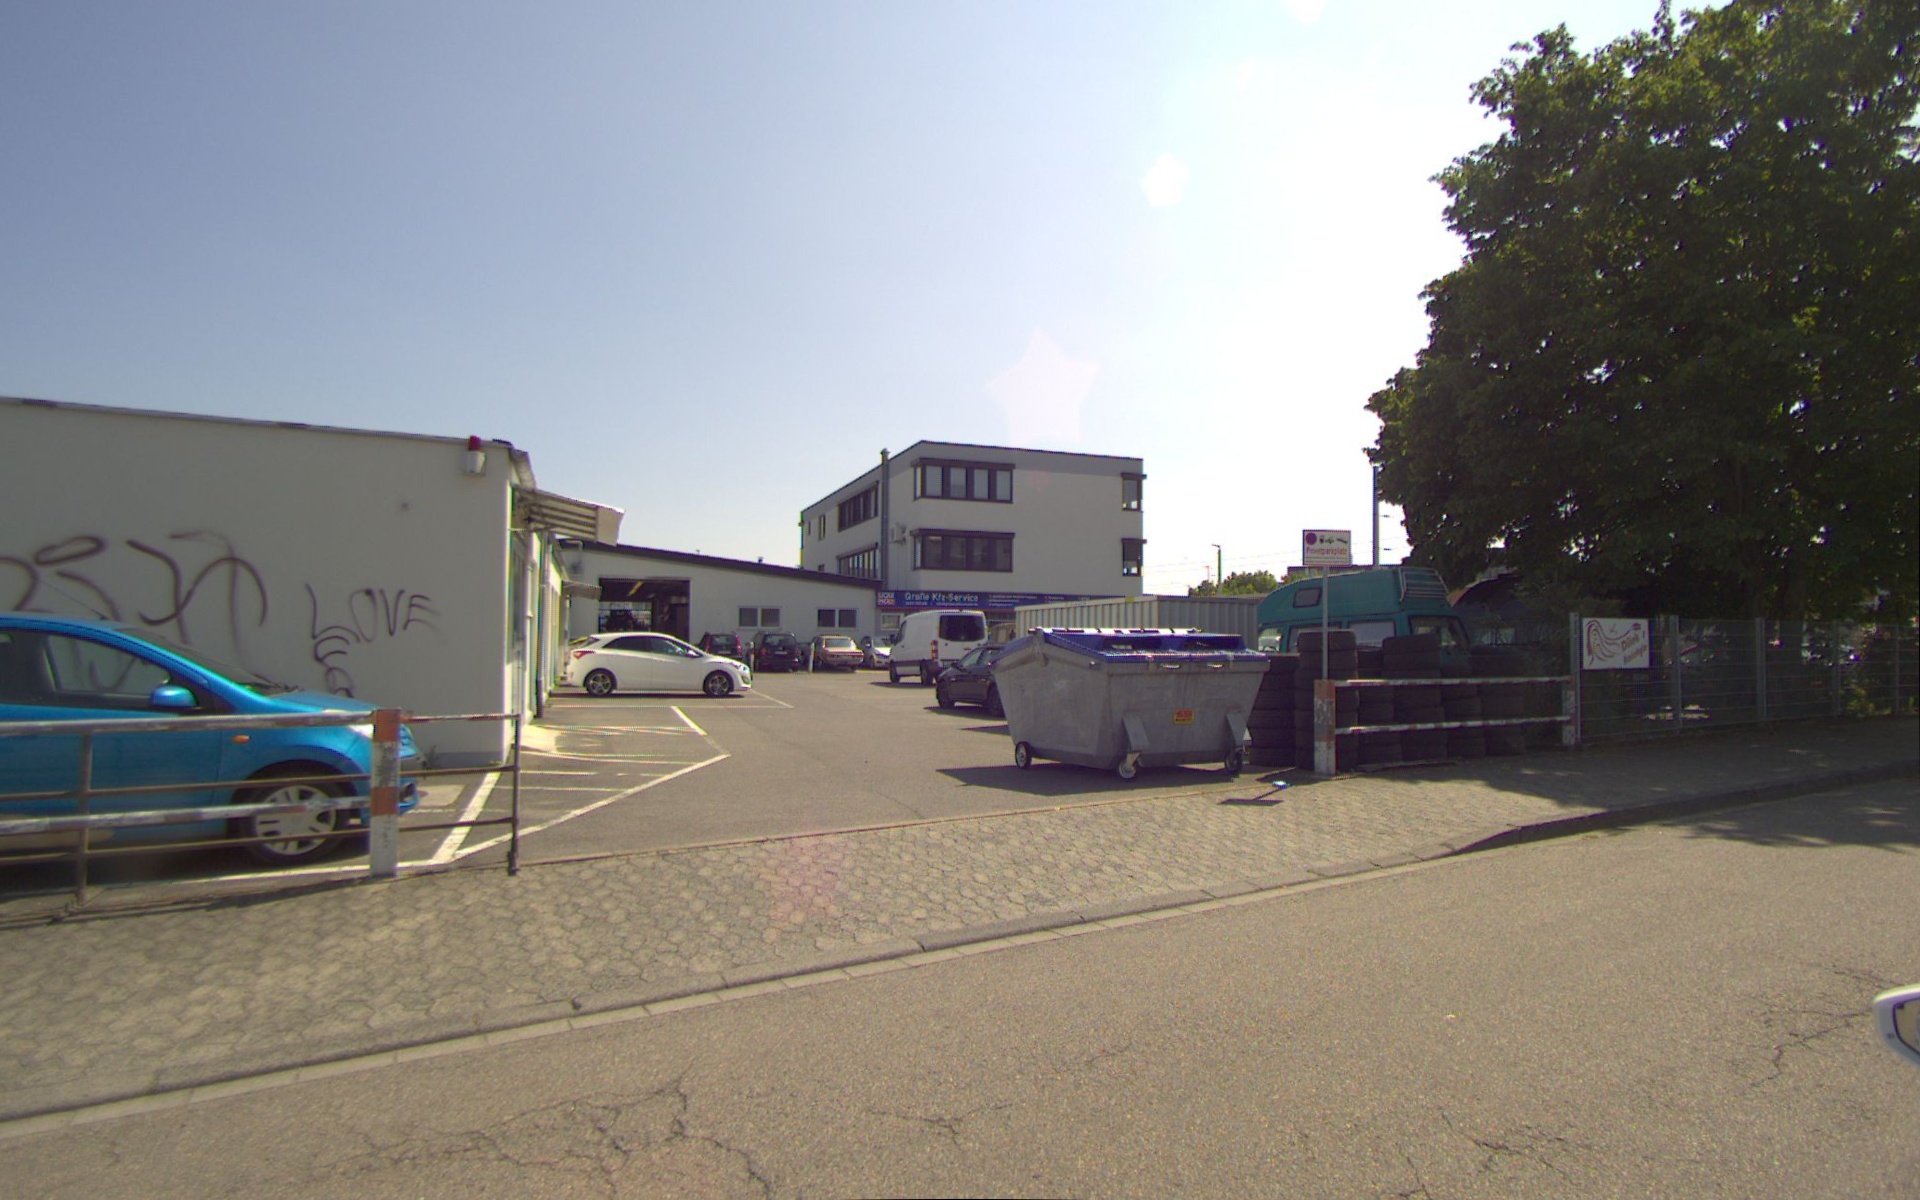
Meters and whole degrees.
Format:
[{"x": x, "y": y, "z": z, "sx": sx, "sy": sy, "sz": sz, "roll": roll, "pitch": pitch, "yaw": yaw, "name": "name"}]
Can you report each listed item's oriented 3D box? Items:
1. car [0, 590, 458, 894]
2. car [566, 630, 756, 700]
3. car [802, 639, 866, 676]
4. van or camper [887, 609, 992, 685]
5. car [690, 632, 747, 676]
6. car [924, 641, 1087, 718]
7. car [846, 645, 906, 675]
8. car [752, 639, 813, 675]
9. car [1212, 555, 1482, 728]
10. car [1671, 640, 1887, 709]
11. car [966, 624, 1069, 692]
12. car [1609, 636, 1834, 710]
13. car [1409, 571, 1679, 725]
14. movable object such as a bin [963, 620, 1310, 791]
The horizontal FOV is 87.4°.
[{"x": -5.145, "y": 0.771, "z": 6.048, "sx": 3.635, "sy": 1.550, "sz": 1.805, "roll": 2, "pitch": -3, "yaw": -32, "name": "car"}, {"x": -7.056, "y": 1.530, "z": 23.835, "sx": 4.160, "sy": 1.550, "sz": 1.813, "roll": 1, "pitch": -3, "yaw": -19, "name": "car"}, {"x": -5.524, "y": 2.465, "z": 43.561, "sx": 1.872, "sy": 1.540, "sz": 3.982, "roll": 1, "pitch": -3, "yaw": -21, "name": "car"}, {"x": -0.787, "y": 1.581, "z": 33.587, "sx": 2.090, "sy": 2.354, "sz": 4.770, "roll": 1, "pitch": -3, "yaw": -21, "name": "van or camper"}, {"x": -10.159, "y": 2.226, "z": 42.088, "sx": 1.969, "sy": 1.750, "sz": 3.984, "roll": 1, "pitch": -2, "yaw": -19, "name": "car"}, {"x": 0.850, "y": 1.639, "z": 21.499, "sx": 1.730, "sy": 1.474, "sz": 4.129, "roll": 1, "pitch": -3, "yaw": -26, "name": "car"}, {"x": -3.752, "y": 2.611, "z": 44.181, "sx": 1.661, "sy": 1.235, "sz": 3.948, "roll": 1, "pitch": -3, "yaw": -20, "name": "car"}, {"x": -7.579, "y": 2.399, "z": 42.530, "sx": 1.969, "sy": 1.453, "sz": 3.984, "roll": 1, "pitch": -3, "yaw": -19, "name": "car"}, {"x": 6.382, "y": 0.691, "z": 17.022, "sx": 1.757, "sy": 2.546, "sz": 4.064, "roll": 1, "pitch": -2, "yaw": -32, "name": "car"}, {"x": 19.555, "y": 1.729, "z": 24.160, "sx": 1.712, "sy": 1.497, "sz": 3.651, "roll": 1, "pitch": -2, "yaw": -24, "name": "car"}, {"x": 1.880, "y": 1.954, "z": 34.328, "sx": 1.972, "sy": 2.173, "sz": 3.979, "roll": 1, "pitch": -3, "yaw": -23, "name": "car"}, {"x": 16.867, "y": 1.563, "z": 22.424, "sx": 1.716, "sy": 1.497, "sz": 3.643, "roll": 1, "pitch": -2, "yaw": -30, "name": "car"}, {"x": 10.805, "y": 0.873, "z": 18.888, "sx": 1.757, "sy": 2.546, "sz": 4.064, "roll": 1, "pitch": -2, "yaw": -32, "name": "car"}, {"x": 1.784, "y": 1.029, "z": 10.803, "sx": 2.691, "sy": 1.530, "sz": 2.620, "roll": 1, "pitch": -3, "yaw": -25, "name": "movable object such as a bin"}]
